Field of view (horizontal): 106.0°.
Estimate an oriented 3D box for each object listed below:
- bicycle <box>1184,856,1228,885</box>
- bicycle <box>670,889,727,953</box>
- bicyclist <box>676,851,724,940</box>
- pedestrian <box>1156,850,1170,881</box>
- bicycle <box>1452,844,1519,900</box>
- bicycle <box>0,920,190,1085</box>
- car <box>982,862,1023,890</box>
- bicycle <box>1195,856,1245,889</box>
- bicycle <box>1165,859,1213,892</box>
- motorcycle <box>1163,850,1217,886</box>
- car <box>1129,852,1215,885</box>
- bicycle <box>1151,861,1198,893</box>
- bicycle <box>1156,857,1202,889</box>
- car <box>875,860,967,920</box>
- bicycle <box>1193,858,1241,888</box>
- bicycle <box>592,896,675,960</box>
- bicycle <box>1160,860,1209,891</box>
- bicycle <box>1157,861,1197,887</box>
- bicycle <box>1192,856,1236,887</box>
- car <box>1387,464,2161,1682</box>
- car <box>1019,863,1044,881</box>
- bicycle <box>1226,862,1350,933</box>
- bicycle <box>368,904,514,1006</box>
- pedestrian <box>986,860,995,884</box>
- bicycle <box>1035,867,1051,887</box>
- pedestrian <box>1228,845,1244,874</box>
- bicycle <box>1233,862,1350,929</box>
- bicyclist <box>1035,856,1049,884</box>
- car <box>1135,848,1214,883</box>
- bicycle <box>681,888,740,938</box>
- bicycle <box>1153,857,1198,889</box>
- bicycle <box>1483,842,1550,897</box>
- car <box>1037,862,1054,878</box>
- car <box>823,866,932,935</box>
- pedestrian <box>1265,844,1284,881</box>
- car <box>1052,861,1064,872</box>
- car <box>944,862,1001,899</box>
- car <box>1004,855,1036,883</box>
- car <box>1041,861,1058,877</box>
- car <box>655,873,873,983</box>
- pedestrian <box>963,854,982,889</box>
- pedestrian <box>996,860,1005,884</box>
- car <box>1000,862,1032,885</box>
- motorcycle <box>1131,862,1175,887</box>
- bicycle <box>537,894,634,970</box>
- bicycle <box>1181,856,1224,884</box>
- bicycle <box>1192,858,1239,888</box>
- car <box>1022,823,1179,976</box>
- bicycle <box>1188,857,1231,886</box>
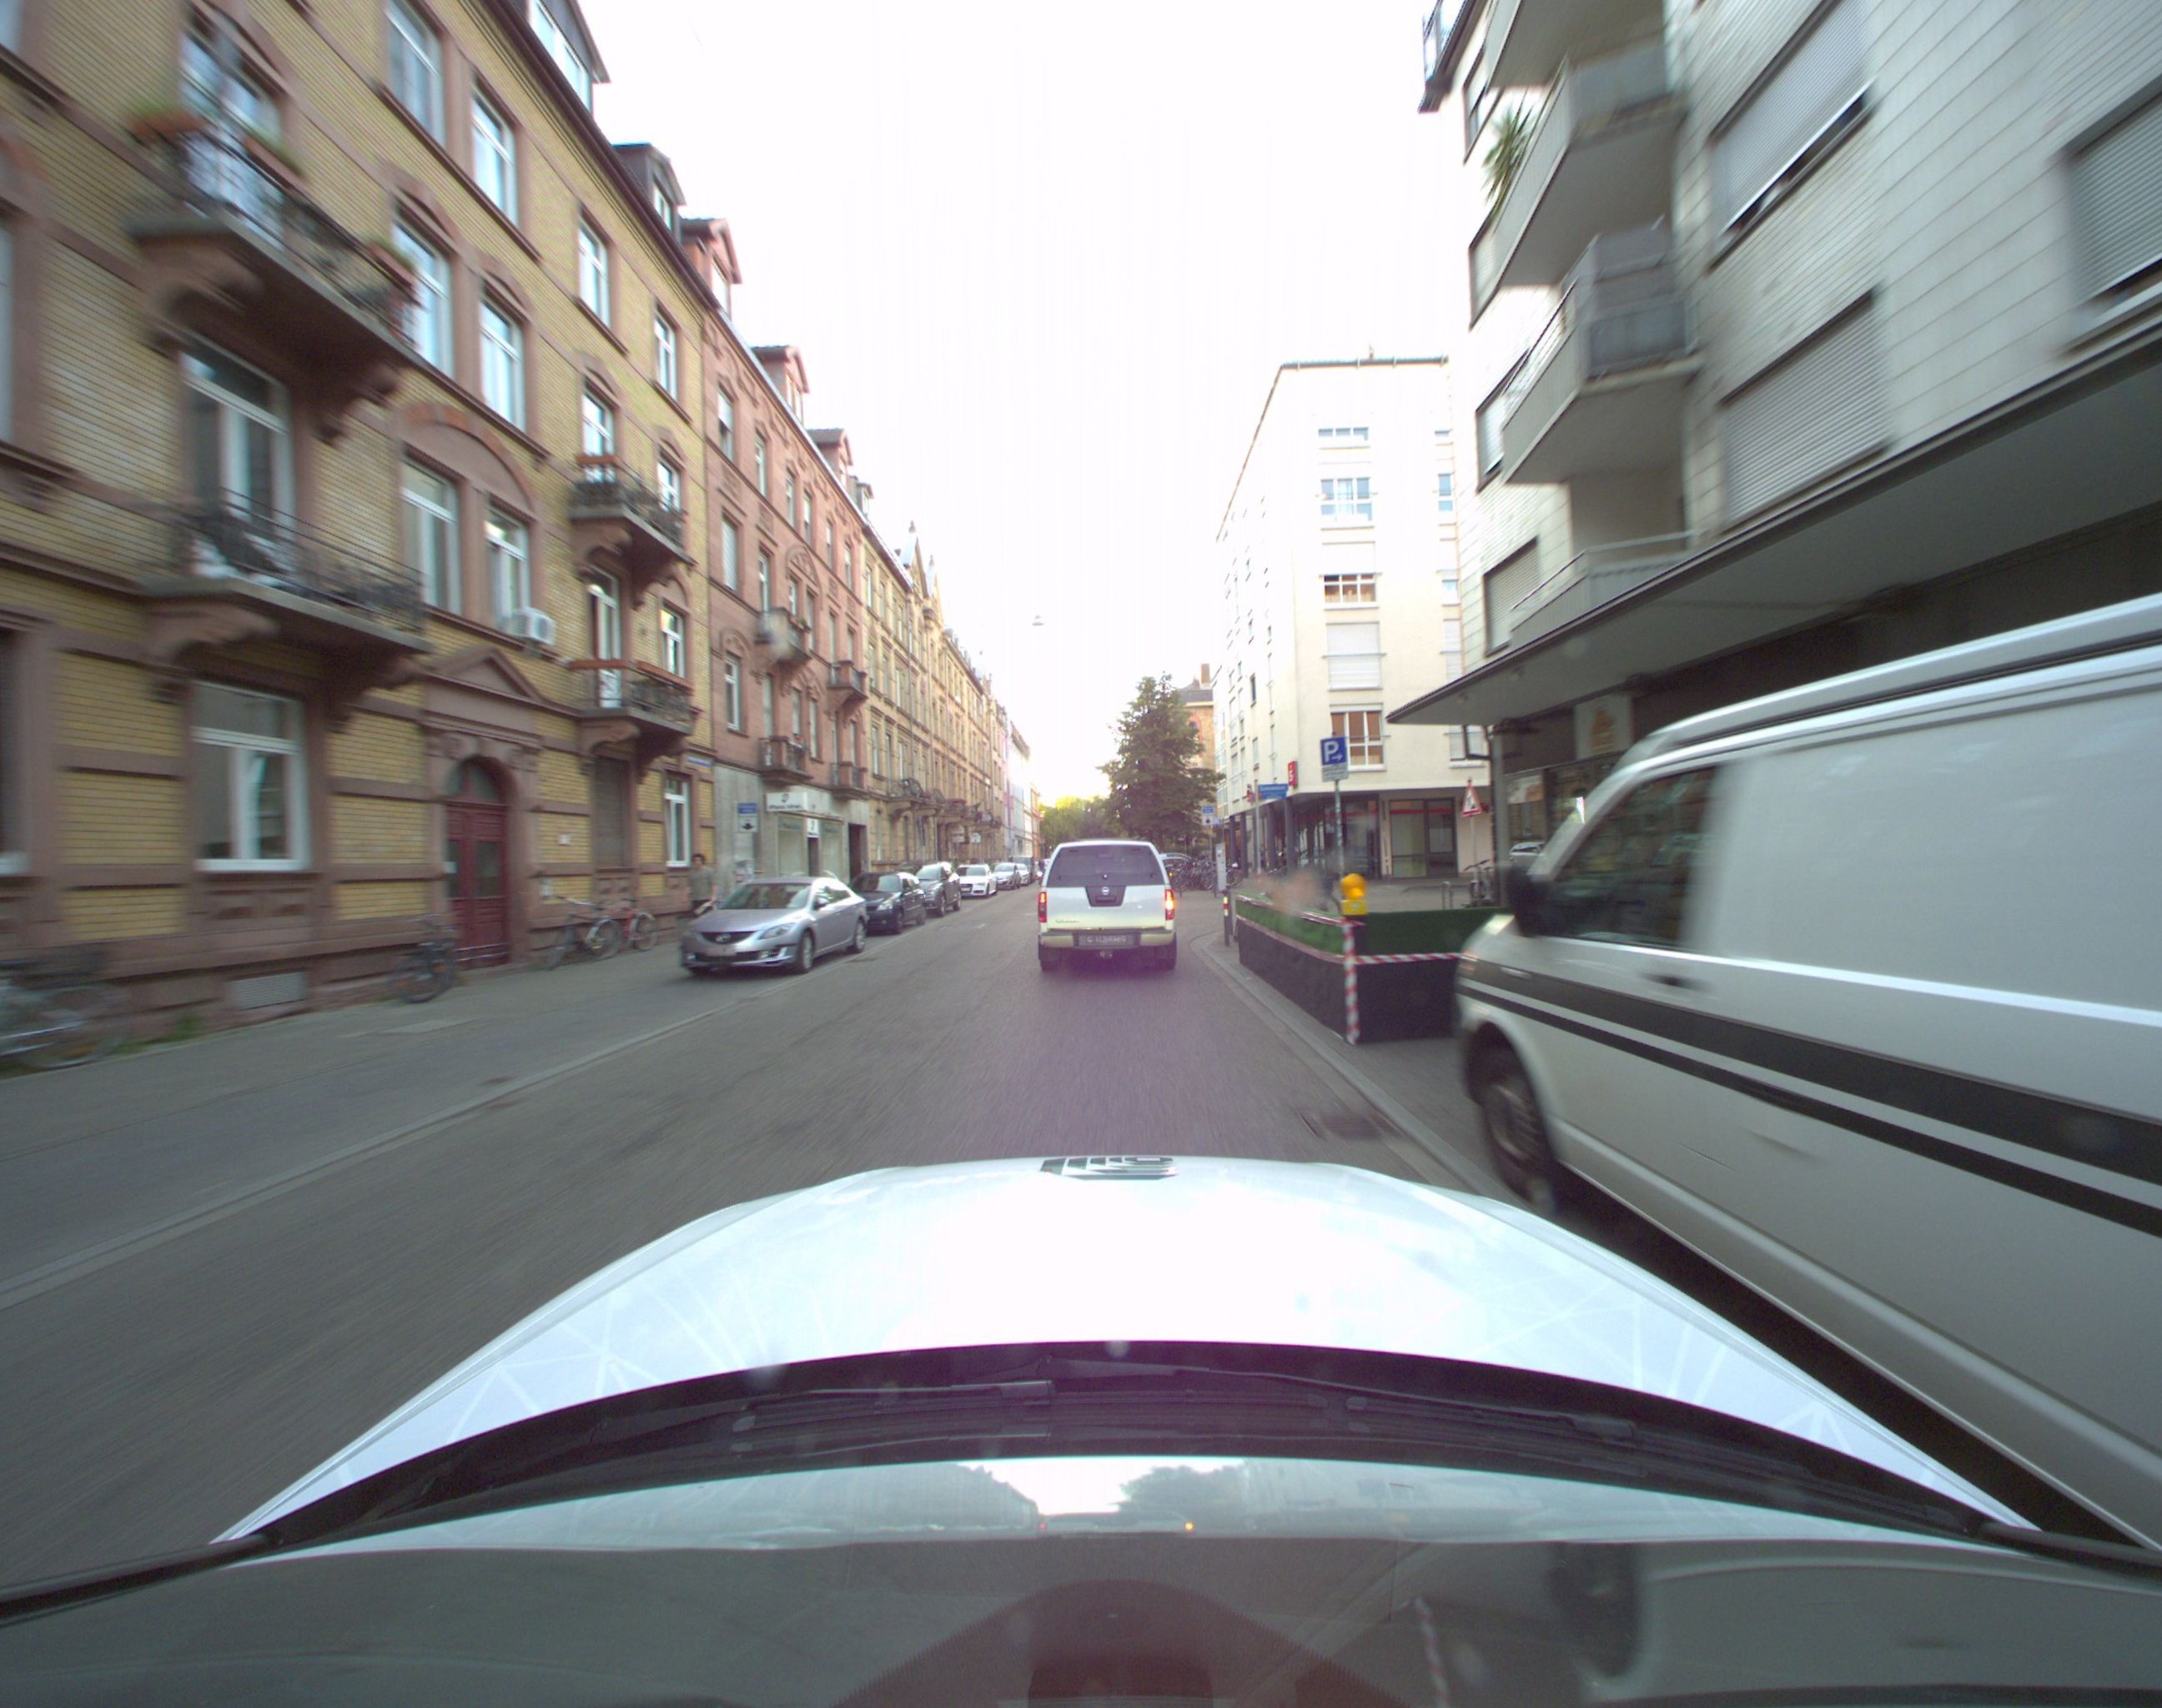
[{"bbox_3d":[5.455,0.727,35.642,1.718,1.118,0.653,-4,-1,-3],"label":"bicycle"},{"bbox_3d":[-7.703,1.319,16.479,0.709,1.196,1.733,-1,-2,-14],"label":"bicycle"},{"bbox_3d":[-7.721,0.826,16.523,0.709,1.730,0.839,-1,-2,-14],"label":"bicyclist"},{"bbox_3d":[4.678,0.684,46.585,0.625,1.753,0.585,-1,-2,-11],"label":"pedestrian"},{"bbox_3d":[8.408,0.382,17.022,0.559,1.067,1.967,-3,-2,6],"label":"bicycle"},{"bbox_3d":[-8.569,1.193,6.513,0.525,1.171,2.050,0,0,4],"label":"bicycle"},{"bbox_3d":[-4.288,1.182,45.062,1.710,1.457,4.002,-1,0,2],"label":"car"},{"bbox_3d":[5.301,0.715,31.135,1.723,1.131,0.576,-4,-1,-11],"label":"bicycle"},{"bbox_3d":[4.181,0.823,31.569,1.715,1.118,0.708,-4,-1,4],"label":"bicycle"},{"bbox_3d":[5.378,0.692,40.366,2.481,1.549,0.824,-5,-2,3],"label":"motorcycle"},{"bbox_3d":[5.020,0.786,45.377,4.416,1.455,1.776,-4,0,-5],"label":"car"},{"bbox_3d":[3.701,0.903,32.433,1.717,1.118,0.706,-4,-1,-1],"label":"bicycle"},{"bbox_3d":[4.267,0.823,35.382,1.777,1.182,0.736,-6,-2,11],"label":"bicycle"},{"bbox_3d":[-4.844,1.039,25.231,1.846,1.633,4.446,-1,0,1],"label":"car"},{"bbox_3d":[5.361,0.761,32.160,1.715,1.054,0.654,-4,-1,4],"label":"bicycle"},{"bbox_3d":[-8.397,1.358,15.355,0.547,1.037,1.760,0,0,2],"label":"bicycle"},{"bbox_3d":[4.210,0.859,33.219,1.804,1.118,0.706,-4,-1,-1],"label":"bicycle"},{"bbox_3d":[4.400,0.925,37.592,1.712,1.031,0.668,-6,-2,3],"label":"bicycle"},{"bbox_3d":[5.536,0.728,33.989,1.715,1.118,0.654,-4,-1,4],"label":"bicycle"},{"bbox_3d":[2.717,0.318,2.130,1.951,1.973,5.004,-4,0,1],"label":"car"},{"bbox_3d":[-4.034,1.471,67.475,1.731,1.418,4.778,-1,-1,1],"label":"car"},{"bbox_3d":[3.604,0.777,14.264,1.919,1.134,0.661,-5,-1,38],"label":"bicycle"},{"bbox_3d":[-8.335,1.279,10.696,0.737,1.123,1.607,-1,0,-5],"label":"bicycle"},{"bbox_3d":[-6.608,1.309,59.780,0.578,1.772,0.996,1,0,-3],"label":"pedestrian"},{"bbox_3d":[-2.278,1.379,48.861,0.642,1.081,2.171,-4,0,5],"label":"bicycle"},{"bbox_3d":[9.479,0.322,49.899,0.725,1.716,0.963,-4,-1,1],"label":"pedestrian"},{"bbox_3d":[3.904,0.793,15.203,1.919,1.134,0.661,-5,-1,38],"label":"bicycle"},{"bbox_3d":[-2.326,0.952,48.654,0.642,1.621,0.919,-4,-1,4],"label":"bicyclist"},{"bbox_3d":[5.492,0.670,48.139,4.384,1.647,1.746,-4,-1,0],"label":"car"},{"bbox_3d":[-8.472,1.328,18.700,0.447,1.022,1.848,1,0,2],"label":"bicycle"},{"bbox_3d":[4.218,0.846,36.225,1.860,1.182,0.744,-6,-2,5],"label":"bicycle"},{"bbox_3d":[9.068,0.338,17.046,0.560,1.067,1.760,-3,-2,6],"label":"bicycle"},{"bbox_3d":[-3.706,1.638,85.759,1.631,1.565,3.781,-1,-1,0],"label":"car"},{"bbox_3d":[-4.846,1.058,19.849,1.579,1.420,3.698,-1,0,2],"label":"car"},{"bbox_3d":[9.279,0.418,39.047,0.656,1.723,0.667,-3,1,28],"label":"pedestrian"},{"bbox_3d":[-3.362,1.878,120.248,1.694,1.552,4.019,-1,-1,-1],"label":"car"},{"bbox_3d":[-4.682,1.101,35.626,1.752,1.412,4.509,-1,0,1],"label":"car"},{"bbox_3d":[-4.284,1.046,58.106,1.987,1.924,4.948,0,-1,-1],"label":"car"},{"bbox_3d":[-3.562,1.647,92.249,1.840,1.659,4.249,-3,-1,-2],"label":"car"},{"bbox_3d":[-4.958,1.078,13.518,1.716,1.420,4.582,-1,-1,1],"label":"car"},{"bbox_3d":[-5.694,0.919,42.728,0.550,1.755,1.026,-2,-2,15],"label":"pedestrian"},{"bbox_3d":[-5.906,1.319,60.016,0.604,1.772,0.776,1,0,-3],"label":"pedestrian"},{"bbox_3d":[-4.177,1.218,52.868,1.778,1.423,4.483,0,-1,-1],"label":"car"},{"bbox_3d":[3.670,1.032,41.281,2.061,1.078,0.660,-4,-1,-15],"label":"motorcycle"},{"bbox_3d":[-8.437,1.302,13.953,0.547,1.123,1.760,0,0,2],"label":"bicycle"},{"bbox_3d":[5.417,0.727,36.364,1.718,1.118,0.653,-4,-1,-3],"label":"bicycle"},{"bbox_3d":[5.411,0.770,32.831,1.715,1.054,0.654,-4,-1,4],"label":"bicycle"},{"bbox_3d":[0.522,0.596,12.607,1.901,1.853,5.279,-1,-1,6],"label":"car"},{"bbox_3d":[5.443,0.738,34.559,1.715,1.118,0.654,-4,-1,4],"label":"bicycle"}]
